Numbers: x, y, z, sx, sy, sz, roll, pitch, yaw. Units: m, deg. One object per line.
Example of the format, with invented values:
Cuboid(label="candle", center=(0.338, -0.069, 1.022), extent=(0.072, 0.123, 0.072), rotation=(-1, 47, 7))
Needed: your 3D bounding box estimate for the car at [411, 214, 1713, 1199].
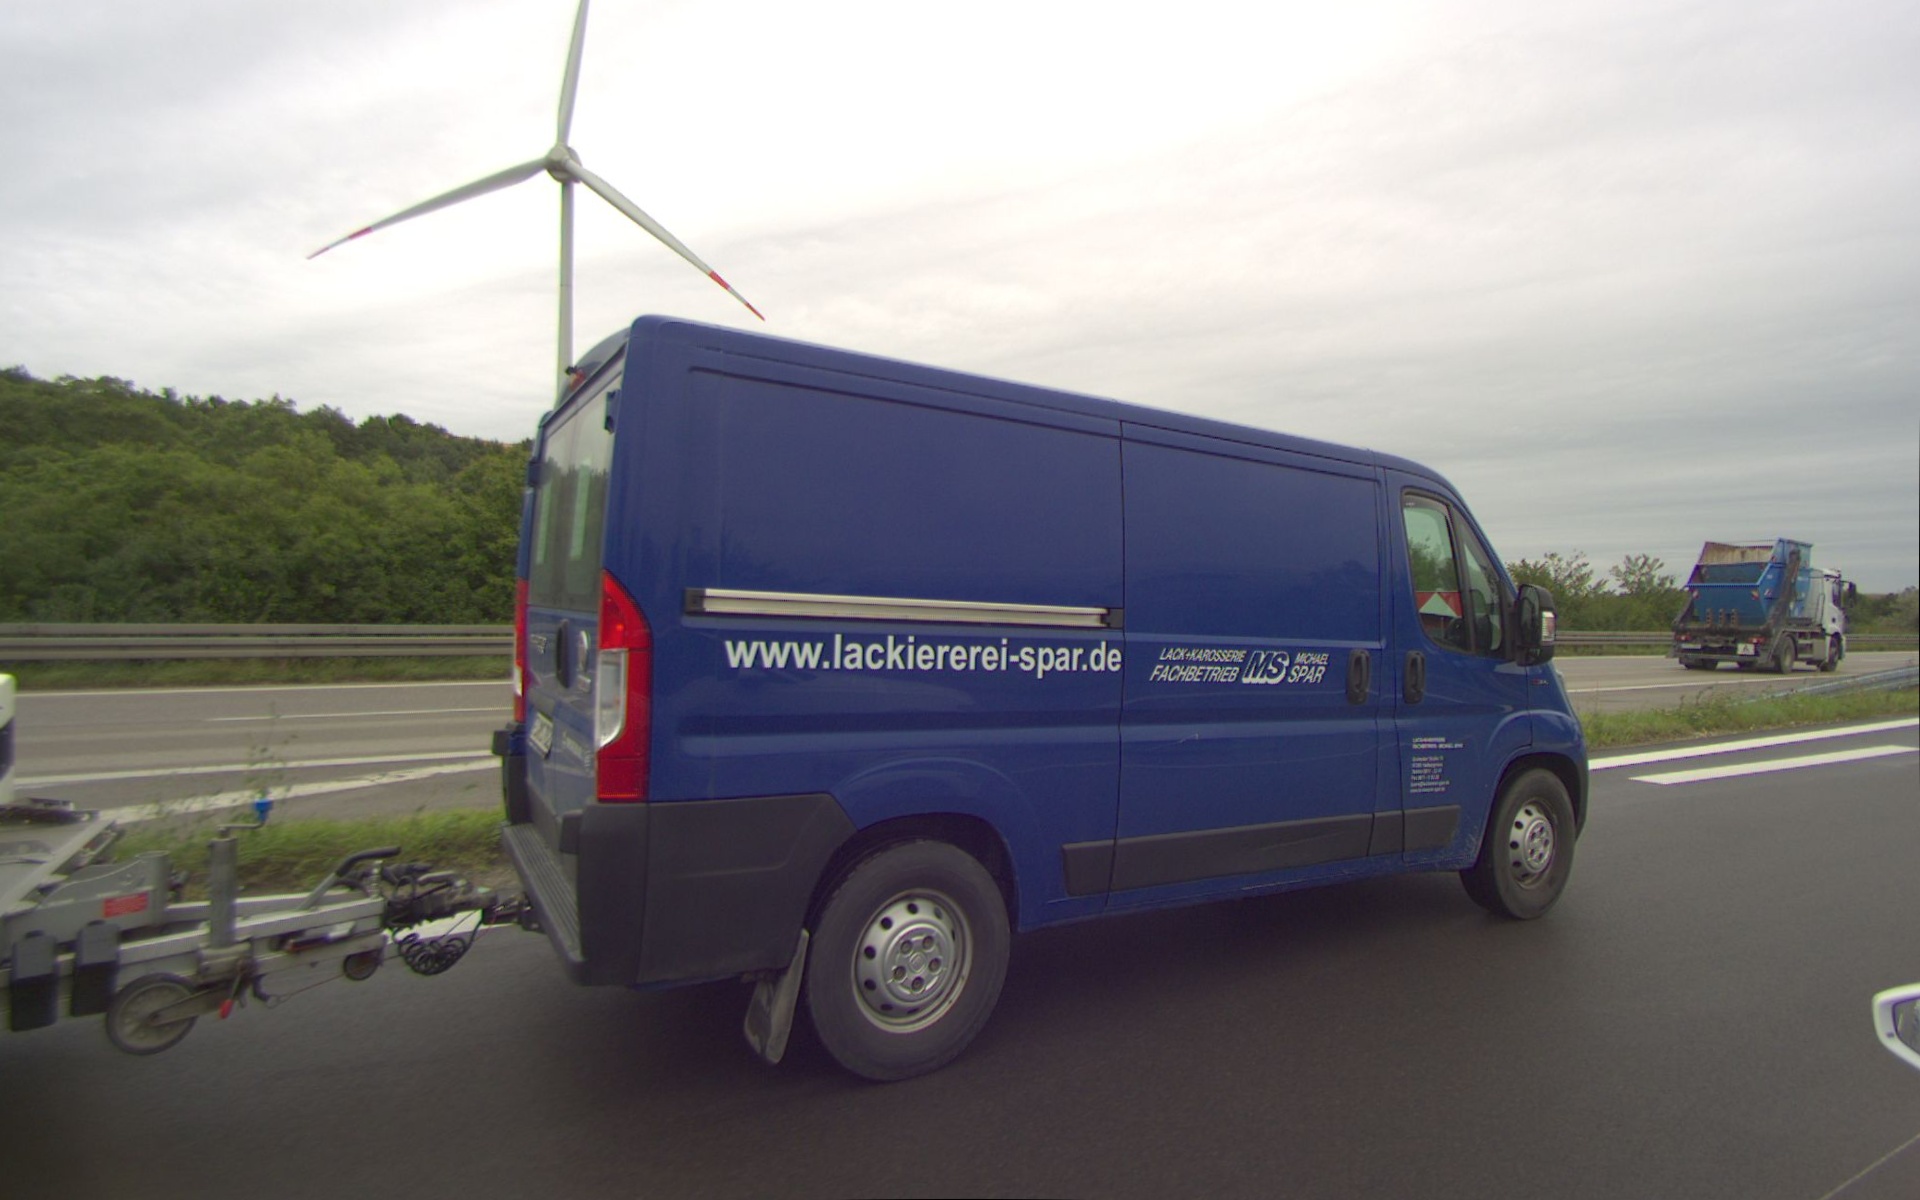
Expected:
Cuboid(label="car", center=(0.862, 0.293, 4.953), extent=(6.184, 2.297, 2.361), rotation=(1, 1, -31))

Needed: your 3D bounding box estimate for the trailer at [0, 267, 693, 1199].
Cuboid(label="trailer", center=(-4.300, 0.326, 1.803), extent=(6.981, 2.021, 2.472), rotation=(1, 1, -31))

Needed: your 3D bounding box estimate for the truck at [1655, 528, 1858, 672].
Cuboid(label="truck", center=(24.010, 0.086, 30.155), extent=(7.267, 3.863, 2.622), rotation=(2, 0, -34))
